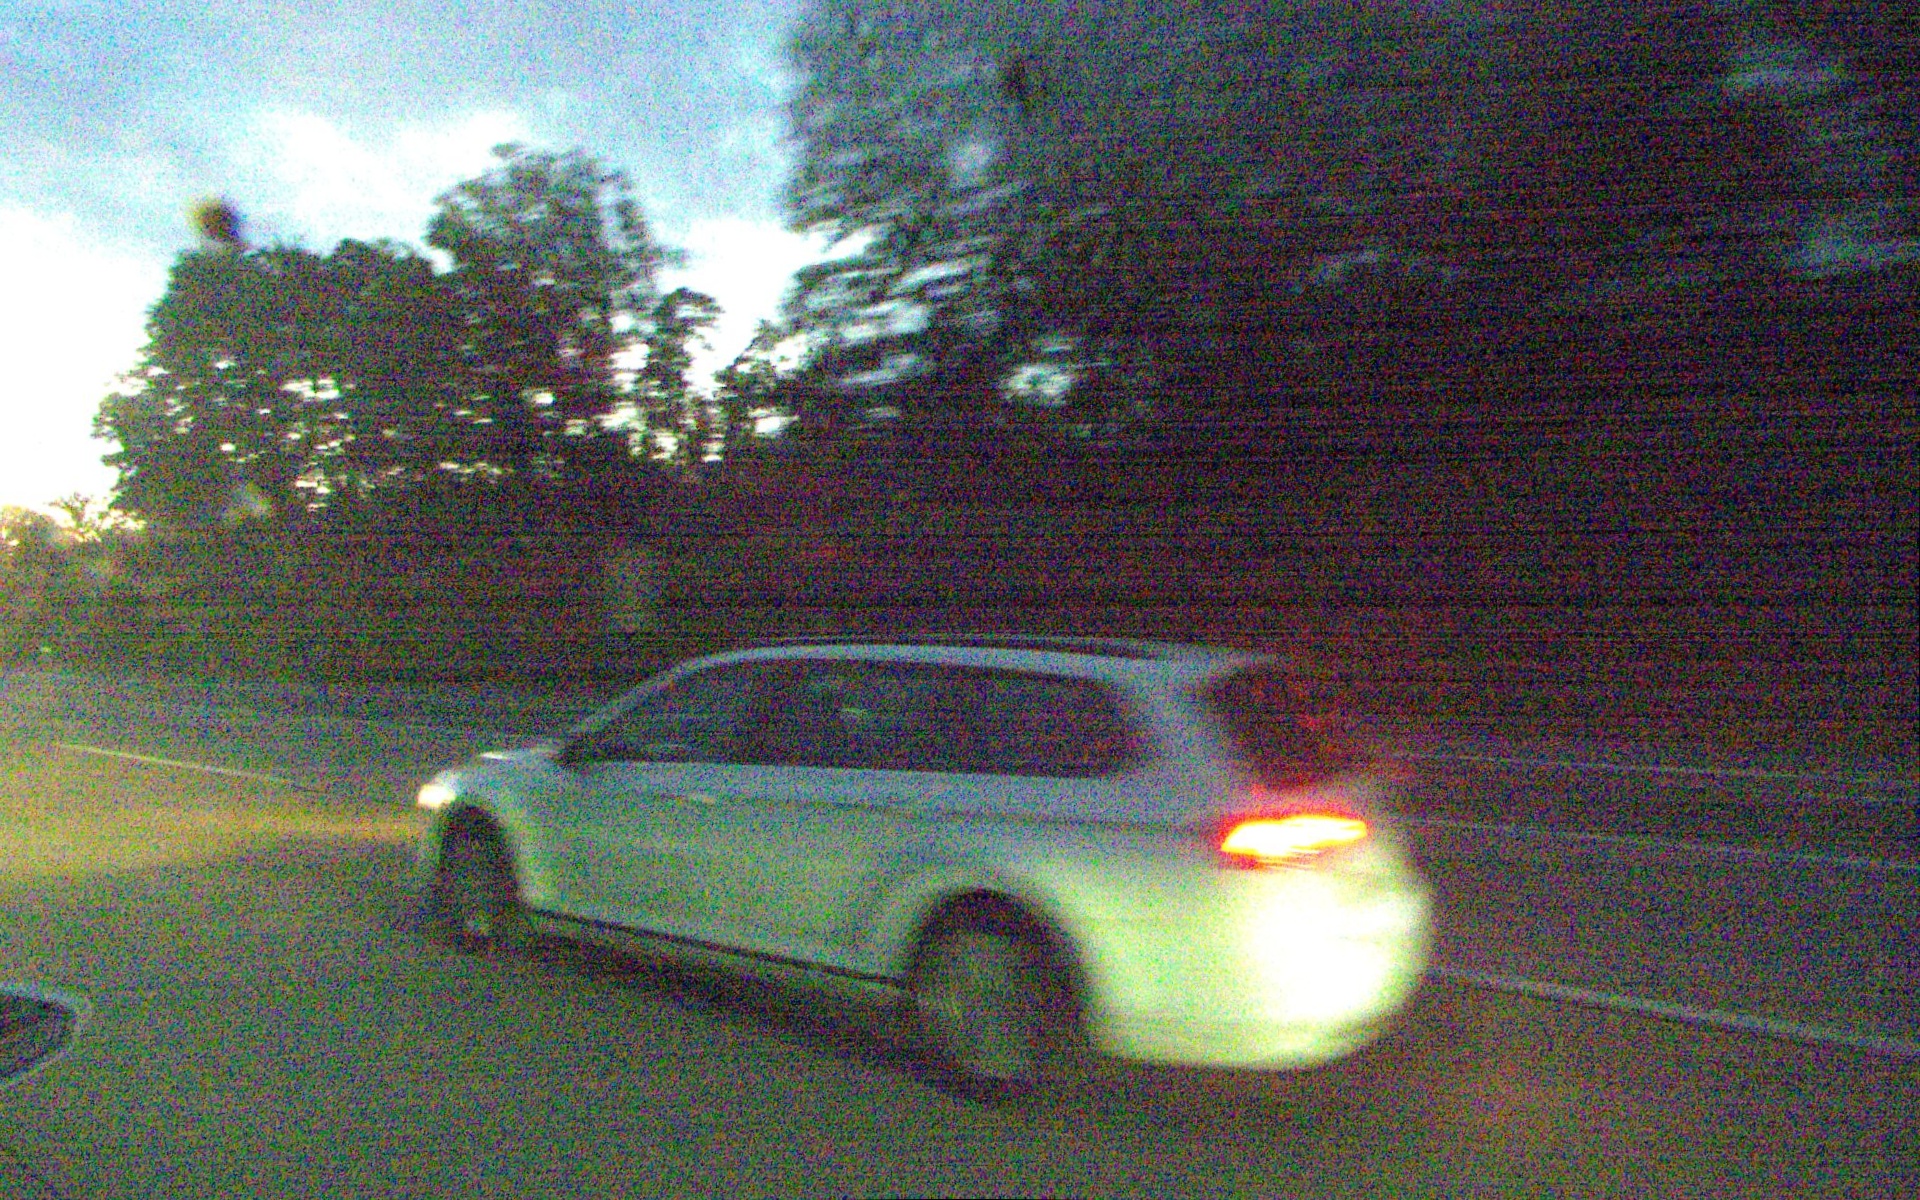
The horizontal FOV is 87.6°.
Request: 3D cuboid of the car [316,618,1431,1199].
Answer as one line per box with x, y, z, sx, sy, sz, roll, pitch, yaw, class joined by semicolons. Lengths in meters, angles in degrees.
-0.726;0.851;4.595;5.058;1.485;1.806;0;-1;32;car
